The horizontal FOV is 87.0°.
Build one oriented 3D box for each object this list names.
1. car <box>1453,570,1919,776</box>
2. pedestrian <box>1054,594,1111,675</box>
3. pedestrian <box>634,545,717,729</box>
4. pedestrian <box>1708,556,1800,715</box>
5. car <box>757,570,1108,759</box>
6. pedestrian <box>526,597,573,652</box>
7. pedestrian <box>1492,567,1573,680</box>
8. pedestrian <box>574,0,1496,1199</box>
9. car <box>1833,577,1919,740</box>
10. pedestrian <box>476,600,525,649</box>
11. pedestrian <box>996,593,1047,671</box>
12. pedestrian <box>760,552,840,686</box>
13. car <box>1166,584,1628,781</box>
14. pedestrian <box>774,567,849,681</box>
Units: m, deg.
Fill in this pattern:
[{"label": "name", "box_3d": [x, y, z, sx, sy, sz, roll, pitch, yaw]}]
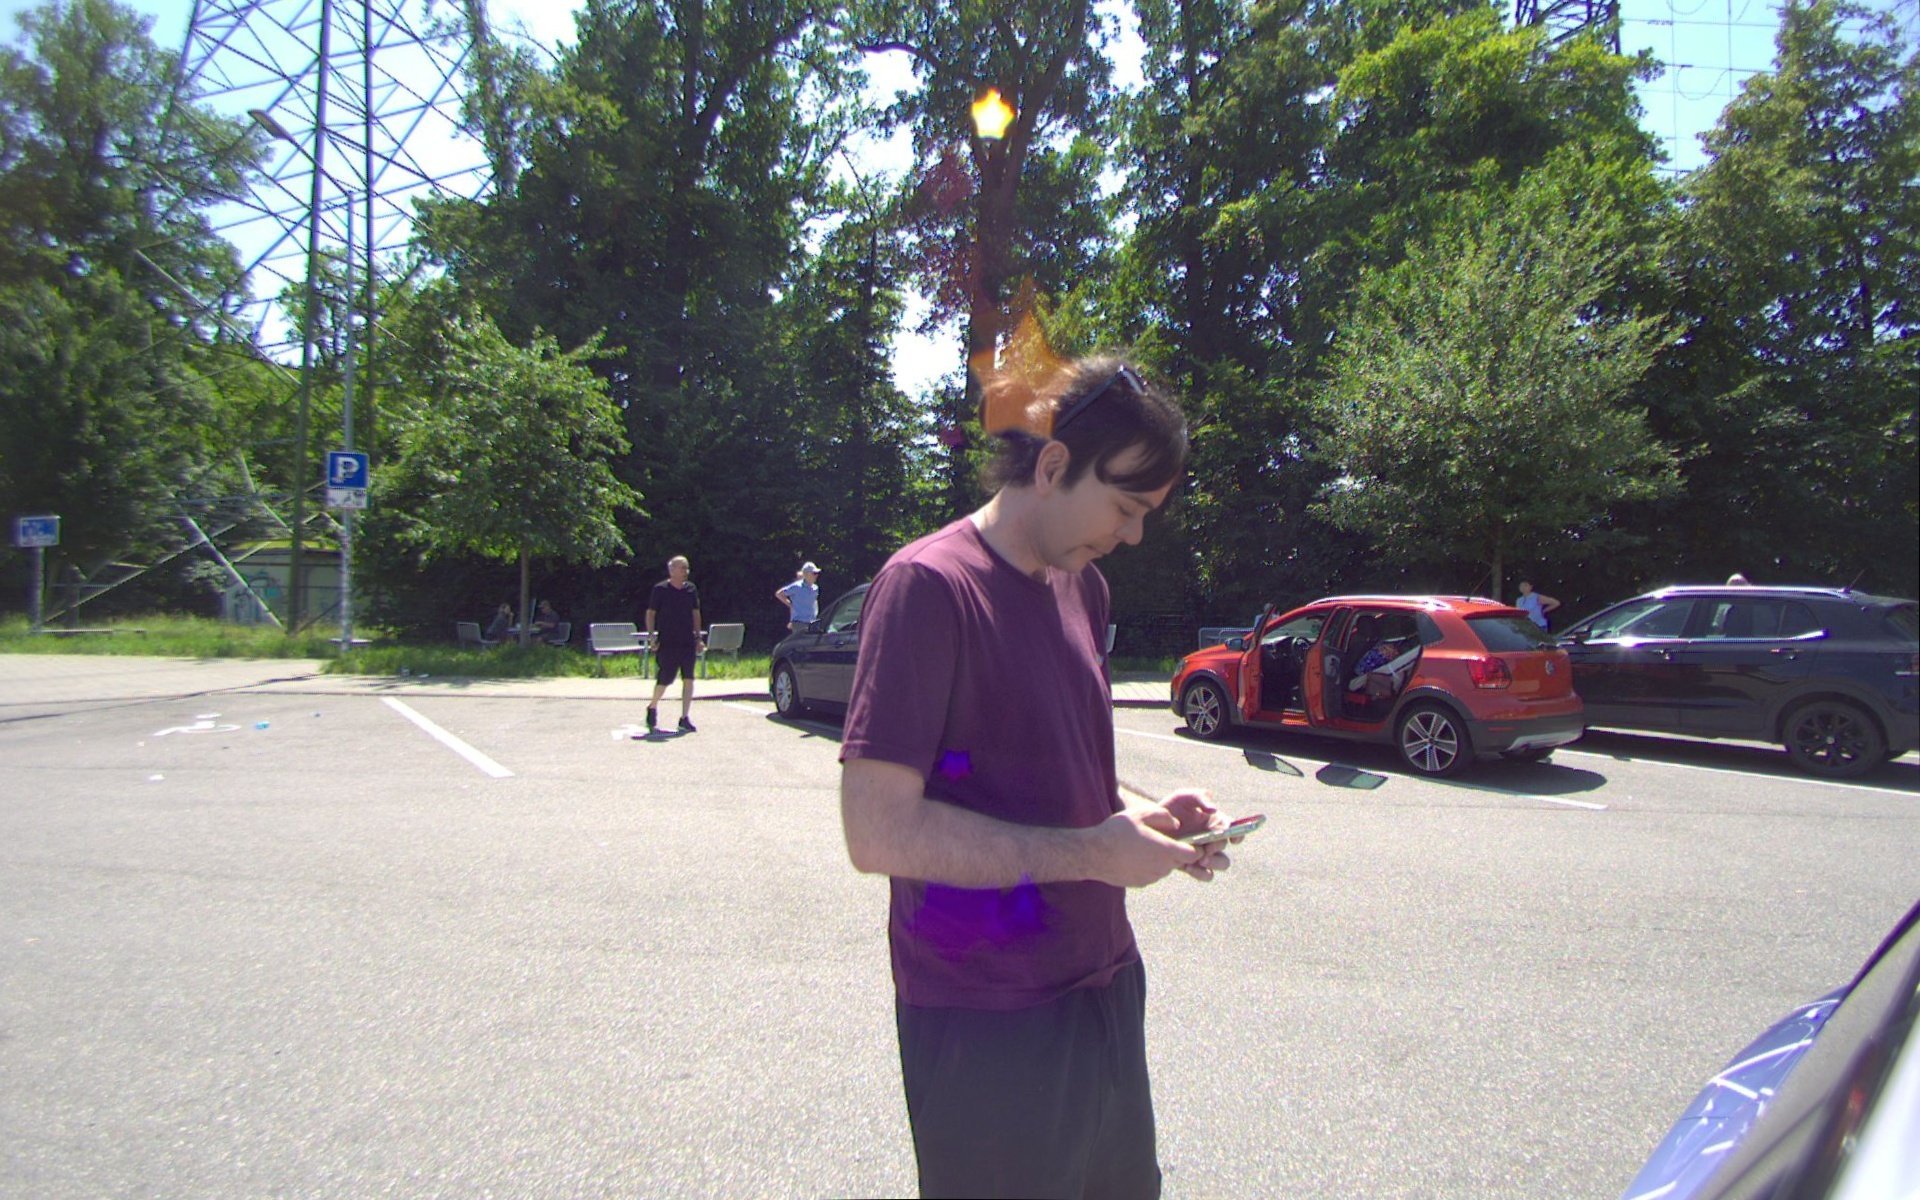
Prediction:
[{"label": "car", "box_3d": [7.205, 0.572, 9.833, 1.807, 1.612, 3.967, 1, 0, -38]}, {"label": "pedestrian", "box_3d": [2.030, 0.564, 16.846, 0.656, 1.311, 0.832, 1, -1, -17]}, {"label": "pedestrian", "box_3d": [-3.033, 0.371, 10.749, 0.700, 1.851, 0.906, 1, -1, -24]}, {"label": "pedestrian", "box_3d": [9.735, 0.420, 12.434, 0.672, 1.889, 0.710, 0, -1, 19]}, {"label": "car", "box_3d": [-0.487, 0.540, 10.693, 1.809, 1.588, 4.017, 1, 0, -35]}, {"label": "pedestrian", "box_3d": [-9.565, 0.567, 23.600, 0.796, 1.253, 0.713, 1, -1, -44]}, {"label": "pedestrian", "box_3d": [8.442, 0.339, 14.925, 0.793, 1.614, 0.716, 1, -1, -26]}, {"label": "pedestrian", "box_3d": [0.118, 0.444, 1.354, 0.828, 1.797, 0.926, 0, -1, 45]}, {"label": "car", "box_3d": [10.926, 0.596, 9.381, 1.745, 1.612, 3.972, 1, 0, -32]}, {"label": "pedestrian", "box_3d": [-10.365, 0.547, 22.824, 0.796, 1.062, 0.714, 1, -1, -43]}, {"label": "pedestrian", "box_3d": [1.038, 0.533, 17.179, 0.656, 1.285, 0.655, 1, -1, -17]}, {"label": "pedestrian", "box_3d": [-2.222, 0.251, 14.028, 0.786, 1.784, 0.809, 1, -1, -39]}, {"label": "car", "box_3d": [3.924, 0.617, 9.645, 1.746, 1.475, 3.710, 1, 0, -33]}, {"label": "pedestrian", "box_3d": [-2.180, 0.344, 14.845, 0.794, 1.614, 0.775, 1, -1, -37]}]
